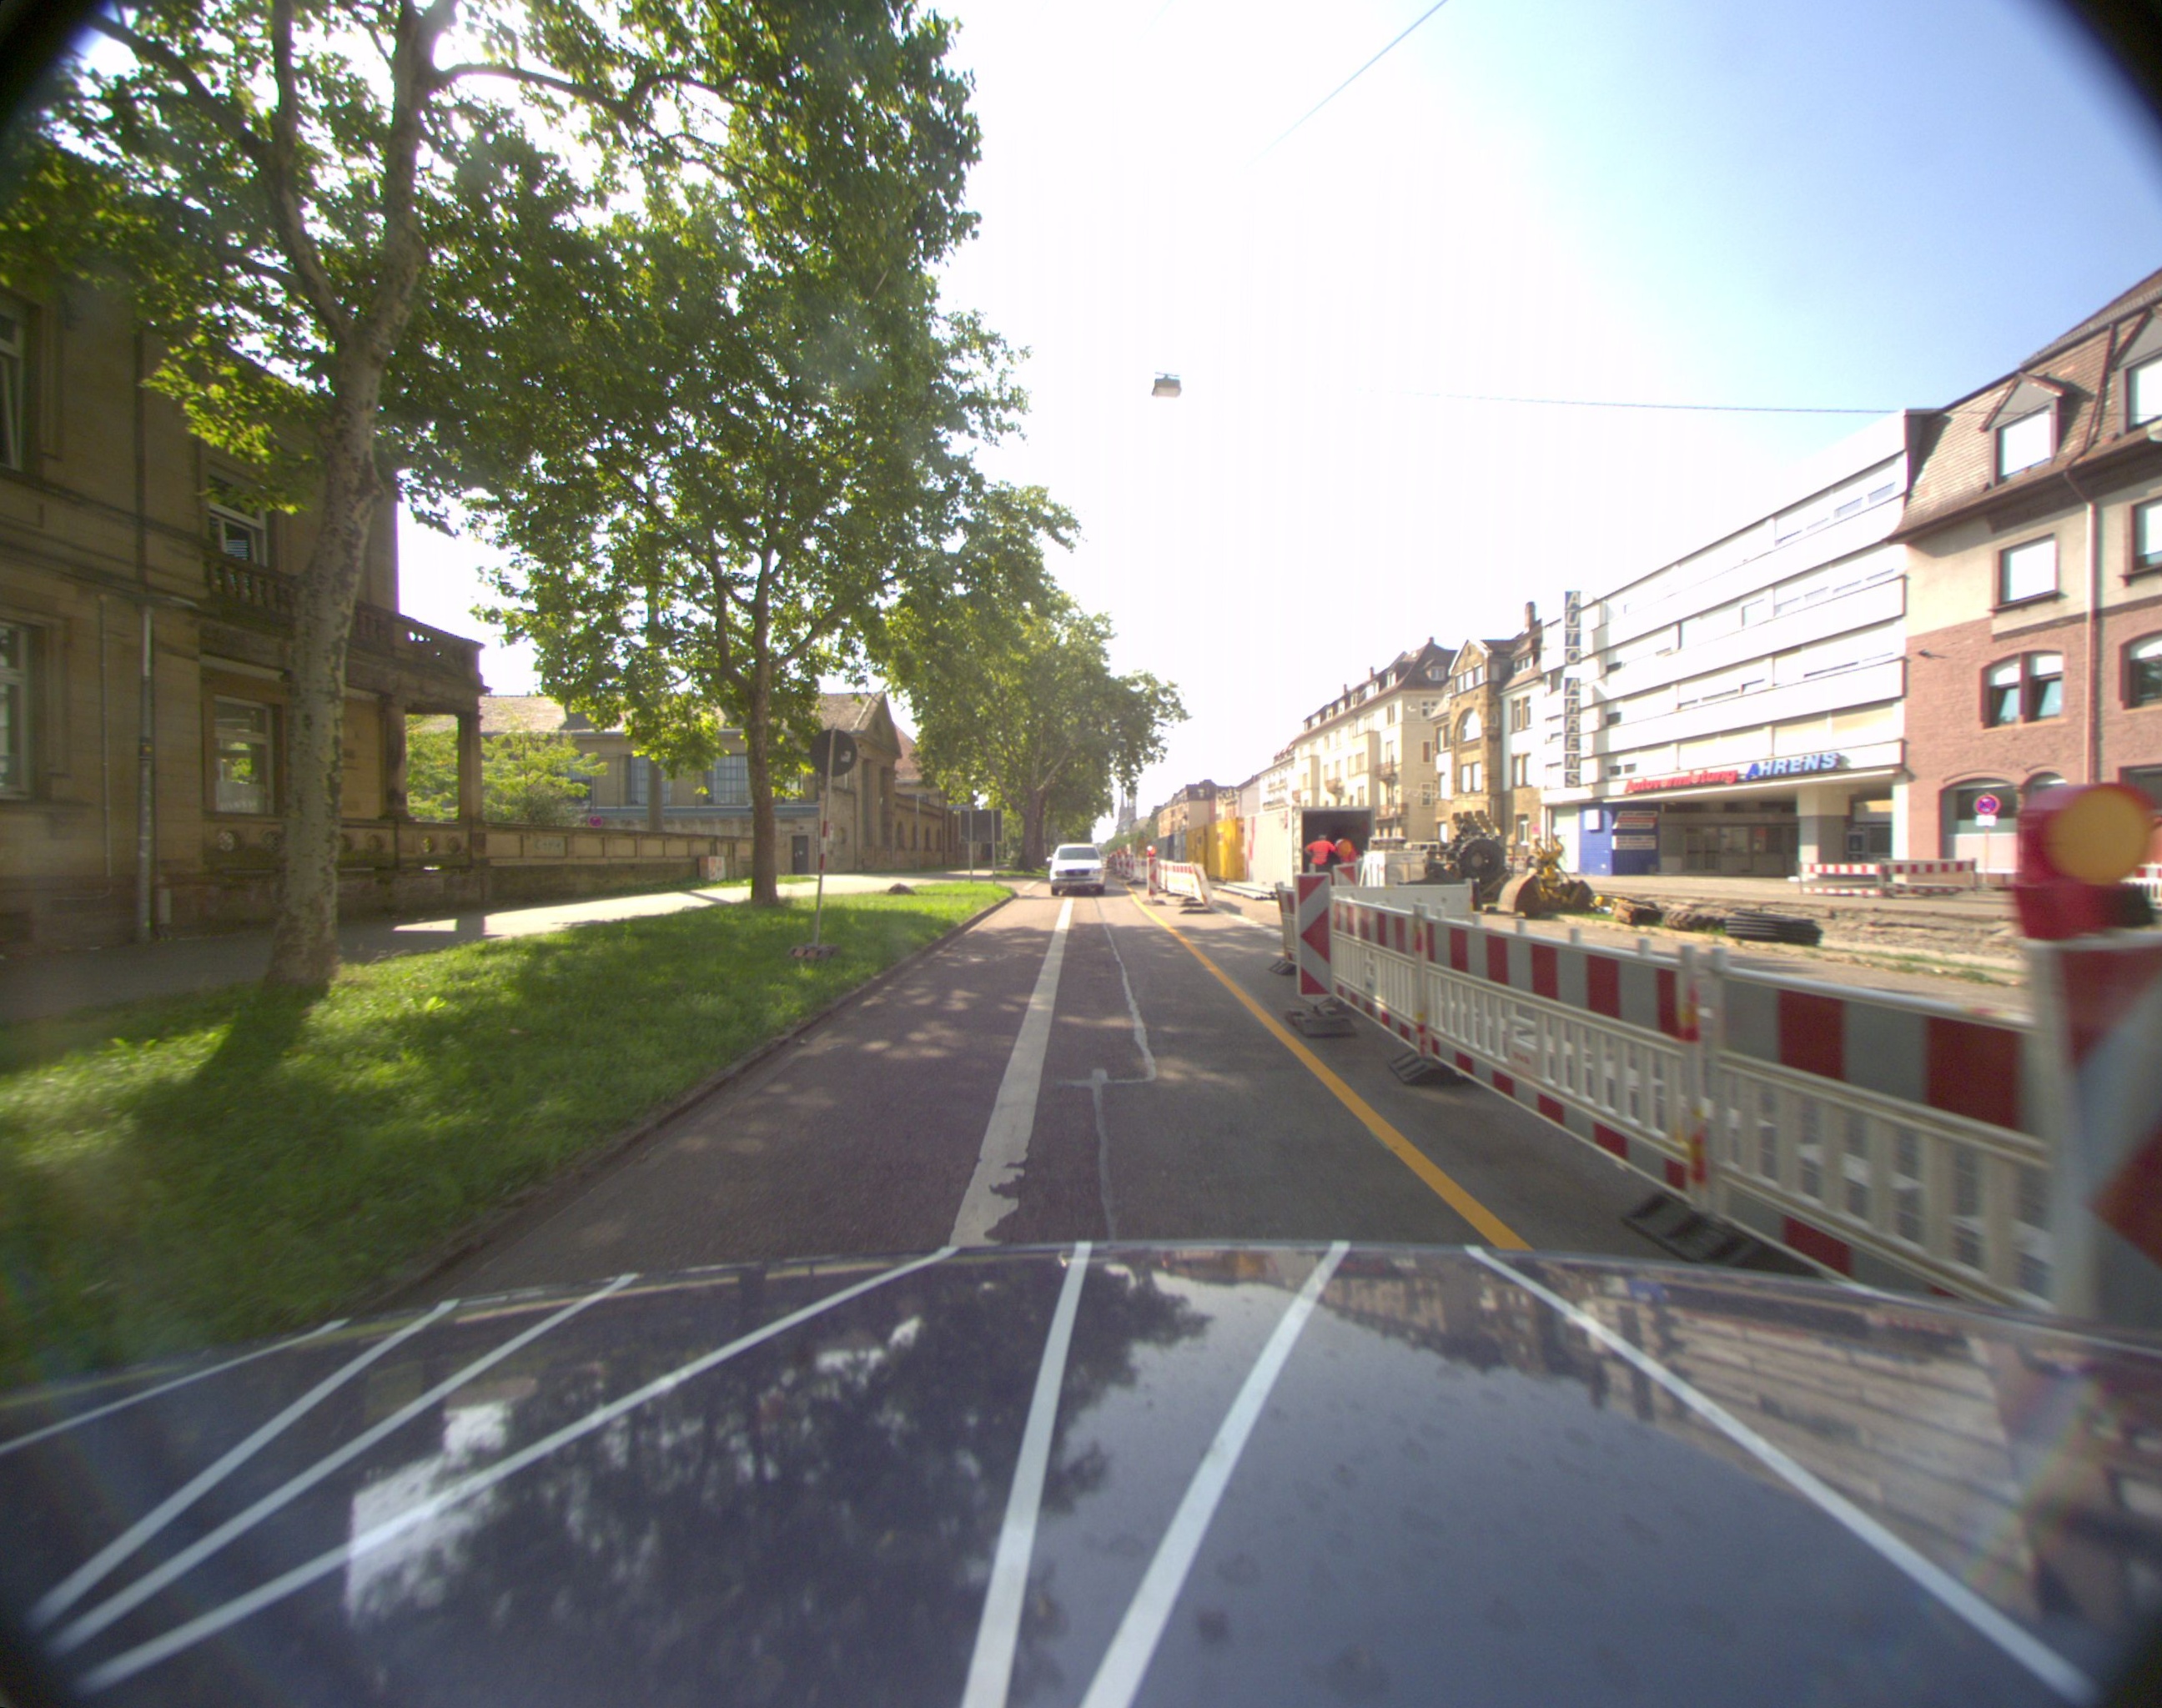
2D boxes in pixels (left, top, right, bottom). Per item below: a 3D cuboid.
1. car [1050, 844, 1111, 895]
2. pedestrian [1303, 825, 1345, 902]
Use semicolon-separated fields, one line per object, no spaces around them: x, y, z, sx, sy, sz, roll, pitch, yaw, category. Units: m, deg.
-0.016;0.508;27.822;1.998;1.686;5.225;0;0;0;car
6.514;0.254;20.350;0.909;2.002;0.913;-1;2;26;pedestrian
